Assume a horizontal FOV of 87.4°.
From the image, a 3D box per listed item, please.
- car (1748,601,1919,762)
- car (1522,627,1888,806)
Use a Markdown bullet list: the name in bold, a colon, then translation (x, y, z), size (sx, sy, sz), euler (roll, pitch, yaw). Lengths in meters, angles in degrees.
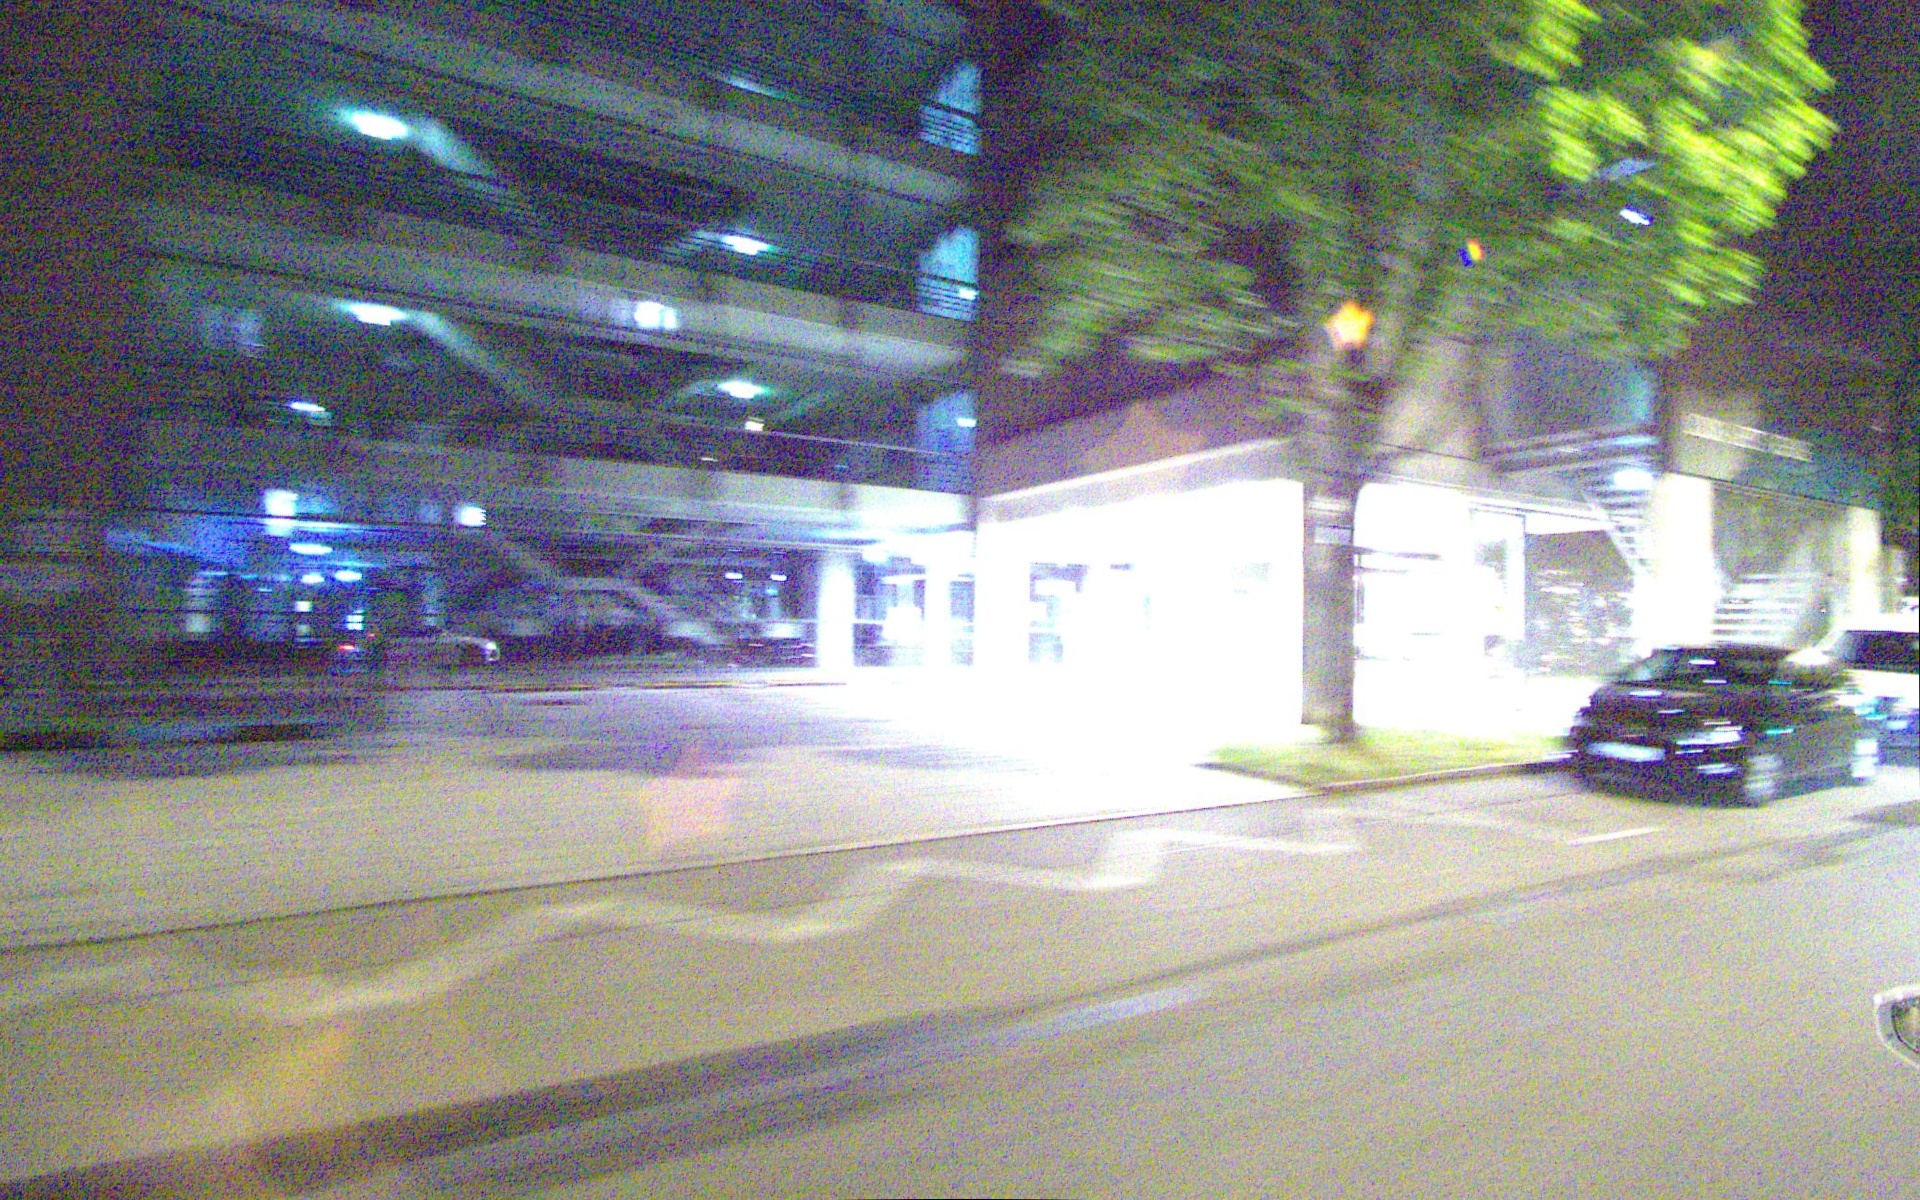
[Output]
- **car**: translation (12.648, 0.997, 13.433), size (4.159, 1.836, 1.814), euler (1, 1, -29)
- **car**: translation (7.738, 1.066, 10.379), size (3.784, 1.453, 1.691), euler (1, 1, -31)
